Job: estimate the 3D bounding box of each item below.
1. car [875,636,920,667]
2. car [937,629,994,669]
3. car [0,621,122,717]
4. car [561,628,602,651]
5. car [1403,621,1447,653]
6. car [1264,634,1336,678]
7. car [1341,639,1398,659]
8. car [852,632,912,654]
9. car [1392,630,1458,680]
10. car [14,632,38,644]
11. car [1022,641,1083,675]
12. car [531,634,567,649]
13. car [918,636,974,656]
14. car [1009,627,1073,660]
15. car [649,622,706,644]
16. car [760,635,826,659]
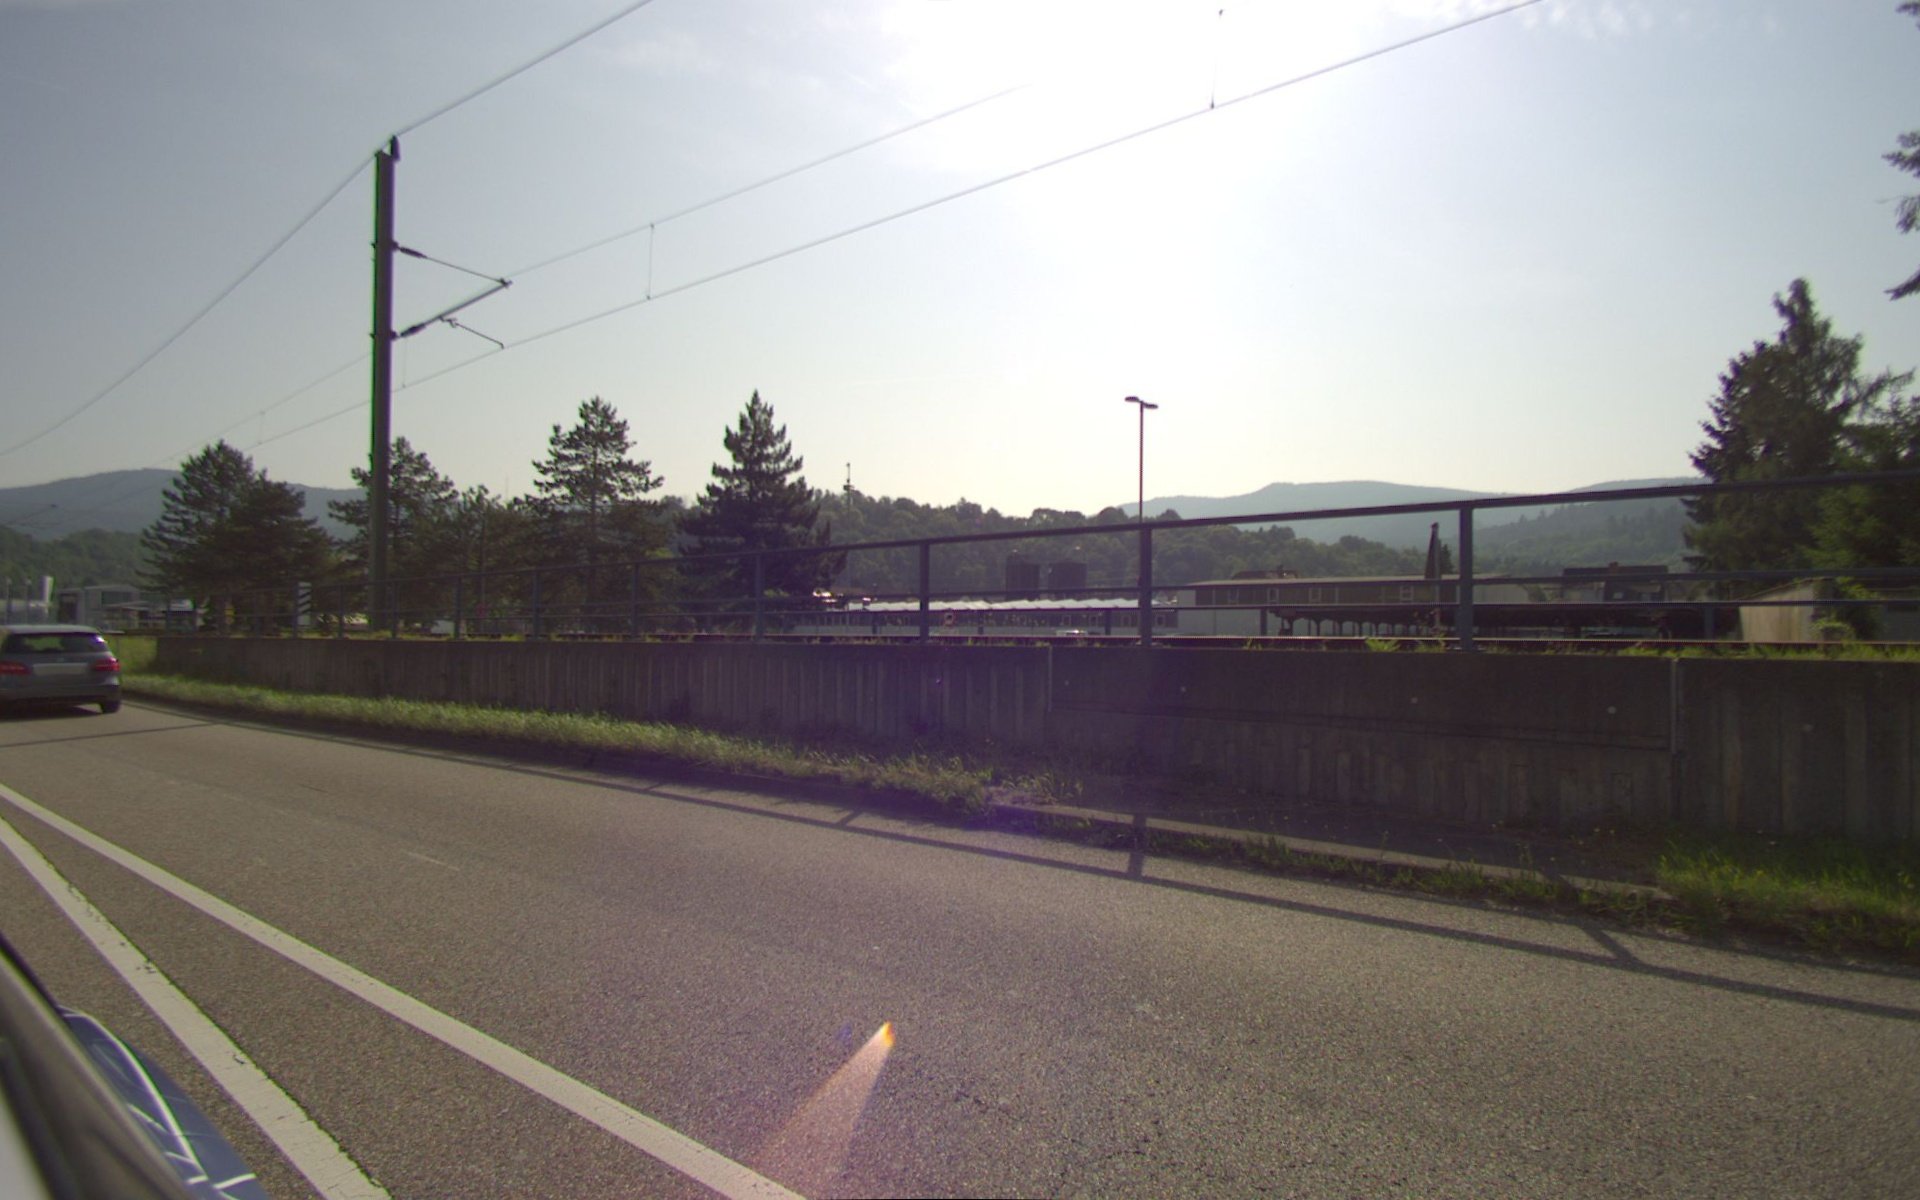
[{"bbox_3d":[-2.871,2.301,45.947,1.433,1.335,3.546,1,-2,-14],"label":"car"},{"bbox_3d":[0.205,2.178,45.273,1.618,1.701,3.816,1,-2,-15],"label":"car"},{"bbox_3d":[-16.418,1.130,17.823,4.195,1.518,1.725,-1,-2,39],"label":"car"},{"bbox_3d":[-23.228,2.423,62.188,1.496,1.368,3.526,1,-2,-7],"label":"car"},{"bbox_3d":[26.007,2.034,56.574,1.811,1.678,3.958,-1,-1,31],"label":"car"},{"bbox_3d":[13.179,2.133,39.118,1.811,1.548,3.958,-1,-1,31],"label":"car"},{"bbox_3d":[28.781,3.431,71.265,3.501,1.335,1.451,0,-2,13],"label":"car"},{"bbox_3d":[-4.872,2.669,63.461,3.476,1.335,1.461,1,-2,-17],"label":"car"},{"bbox_3d":[17.241,1.974,37.445,1.811,1.678,3.958,-1,-1,31],"label":"car"},{"bbox_3d":[-135.633,5.494,146.939,4.356,1.701,1.507,-1,-1,32],"label":"car"},{"bbox_3d":[3.779,2.370,41.822,1.433,1.335,3.546,1,-2,-14],"label":"car"},{"bbox_3d":[-45.995,4.638,113.178,3.984,1.560,1.667,-1,-3,30],"label":"car"},{"bbox_3d":[-0.938,3.083,68.255,3.476,1.335,1.461,1,-2,-17],"label":"car"},{"bbox_3d":[4.460,2.336,55.189,1.992,1.733,3.959,-1,-2,30],"label":"car"},{"bbox_3d":[-22.269,2.593,79.978,3.944,1.733,2.000,0,-2,0],"label":"car"},{"bbox_3d":[-9.450,2.673,57.338,3.476,1.335,1.462,1,-2,-18],"label":"car"}]
